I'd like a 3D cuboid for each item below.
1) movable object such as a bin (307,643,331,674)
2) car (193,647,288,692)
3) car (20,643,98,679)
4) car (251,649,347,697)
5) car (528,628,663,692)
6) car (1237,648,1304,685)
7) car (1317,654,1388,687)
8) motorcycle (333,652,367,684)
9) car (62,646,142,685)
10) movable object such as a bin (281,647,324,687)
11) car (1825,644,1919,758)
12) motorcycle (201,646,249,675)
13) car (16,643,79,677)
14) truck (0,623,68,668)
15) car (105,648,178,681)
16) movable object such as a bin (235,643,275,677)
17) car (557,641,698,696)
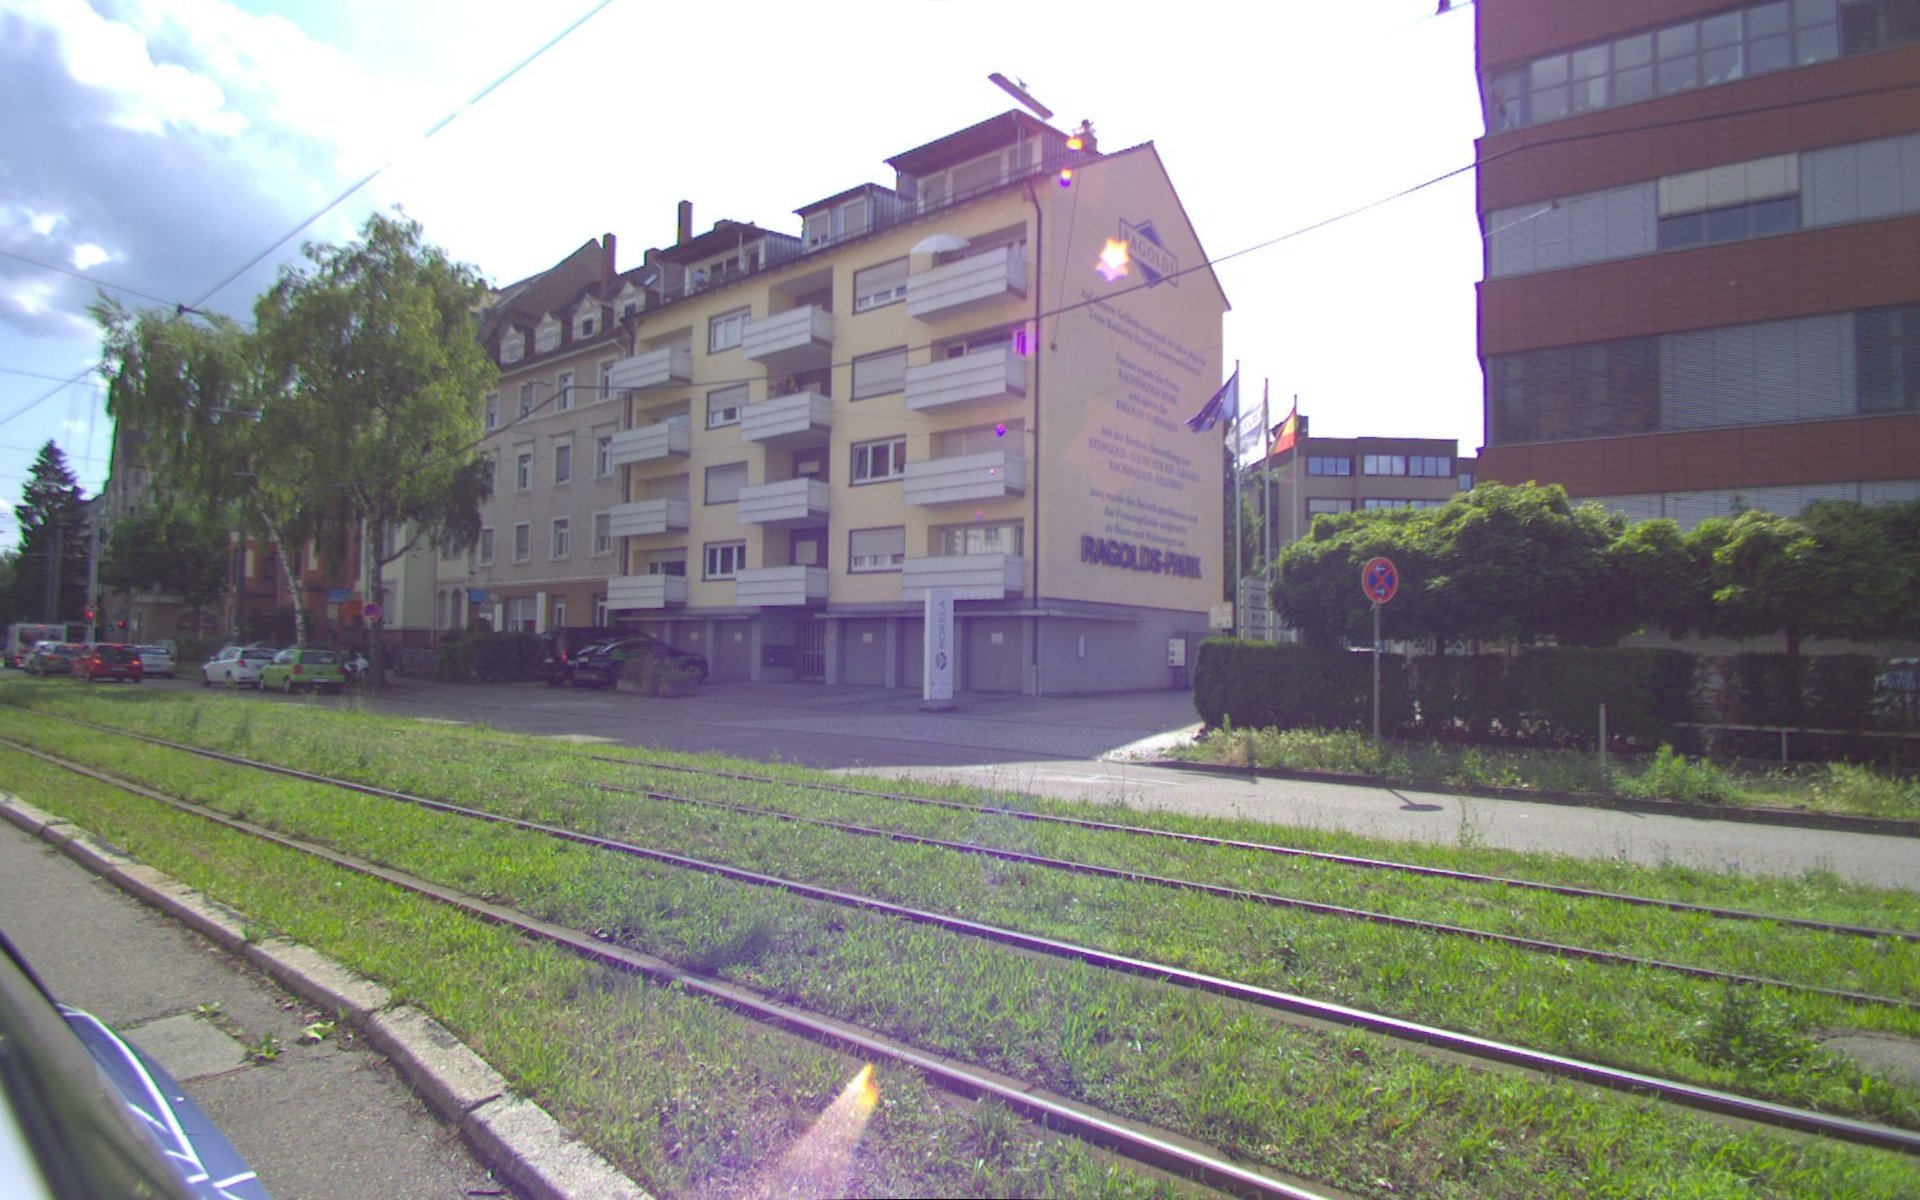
[{"bbox_3d":[-29.520,2.689,46.610,0.698,1.372,0.667,-2,-4,35],"label":"movable object such as a bin"},{"bbox_3d":[-25.785,2.482,36.225,4.221,1.489,1.628,-2,-6,39],"label":"car"},{"bbox_3d":[-37.707,2.549,42.331,4.509,1.366,1.737,-1,-6,40],"label":"car"},{"bbox_3d":[-21.588,2.363,33.014,3.611,1.443,1.578,-2,-5,40],"label":"car"},{"bbox_3d":[-12.445,1.993,34.744,1.936,2.029,3.944,-2,-2,42],"label":"car"},{"bbox_3d":[16.119,3.449,52.762,1.743,1.827,4.007,1,-3,-8],"label":"car"},{"bbox_3d":[21.053,3.769,54.447,1.743,1.708,4.007,1,-3,-8],"label":"car"},{"bbox_3d":[-21.668,2.415,35.943,1.630,1.050,0.494,0,0,38],"label":"motorcycle"},{"bbox_3d":[-32.143,2.438,37.892,3.689,1.397,1.563,-2,-5,39],"label":"car"},{"bbox_3d":[-25.142,2.550,38.708,1.519,1.441,0.942,-2,-2,38],"label":"movable object such as a bin"},{"bbox_3d":[15.092,1.531,15.808,1.996,1.608,3.952,-2,-4,35],"label":"car"},{"bbox_3d":[-32.374,2.660,44.571,2.287,1.252,0.893,-2,-4,33],"label":"motorcycle"},{"bbox_3d":[-42.339,2.768,46.927,4.133,1.425,1.736,-2,-6,43],"label":"car"},{"bbox_3d":[-49.177,2.416,53.571,6.612,2.231,2.161,-2,-5,43],"label":"truck"},{"bbox_3d":[-36.003,2.810,44.492,3.992,1.366,1.737,-2,-5,40],"label":"car"},{"bbox_3d":[-29.983,2.540,43.034,1.519,1.377,0.942,-2,1,38],"label":"movable object such as a bin"},{"bbox_3d":[-10.679,2.149,32.720,1.970,1.614,3.948,-2,-2,38],"label":"car"}]
